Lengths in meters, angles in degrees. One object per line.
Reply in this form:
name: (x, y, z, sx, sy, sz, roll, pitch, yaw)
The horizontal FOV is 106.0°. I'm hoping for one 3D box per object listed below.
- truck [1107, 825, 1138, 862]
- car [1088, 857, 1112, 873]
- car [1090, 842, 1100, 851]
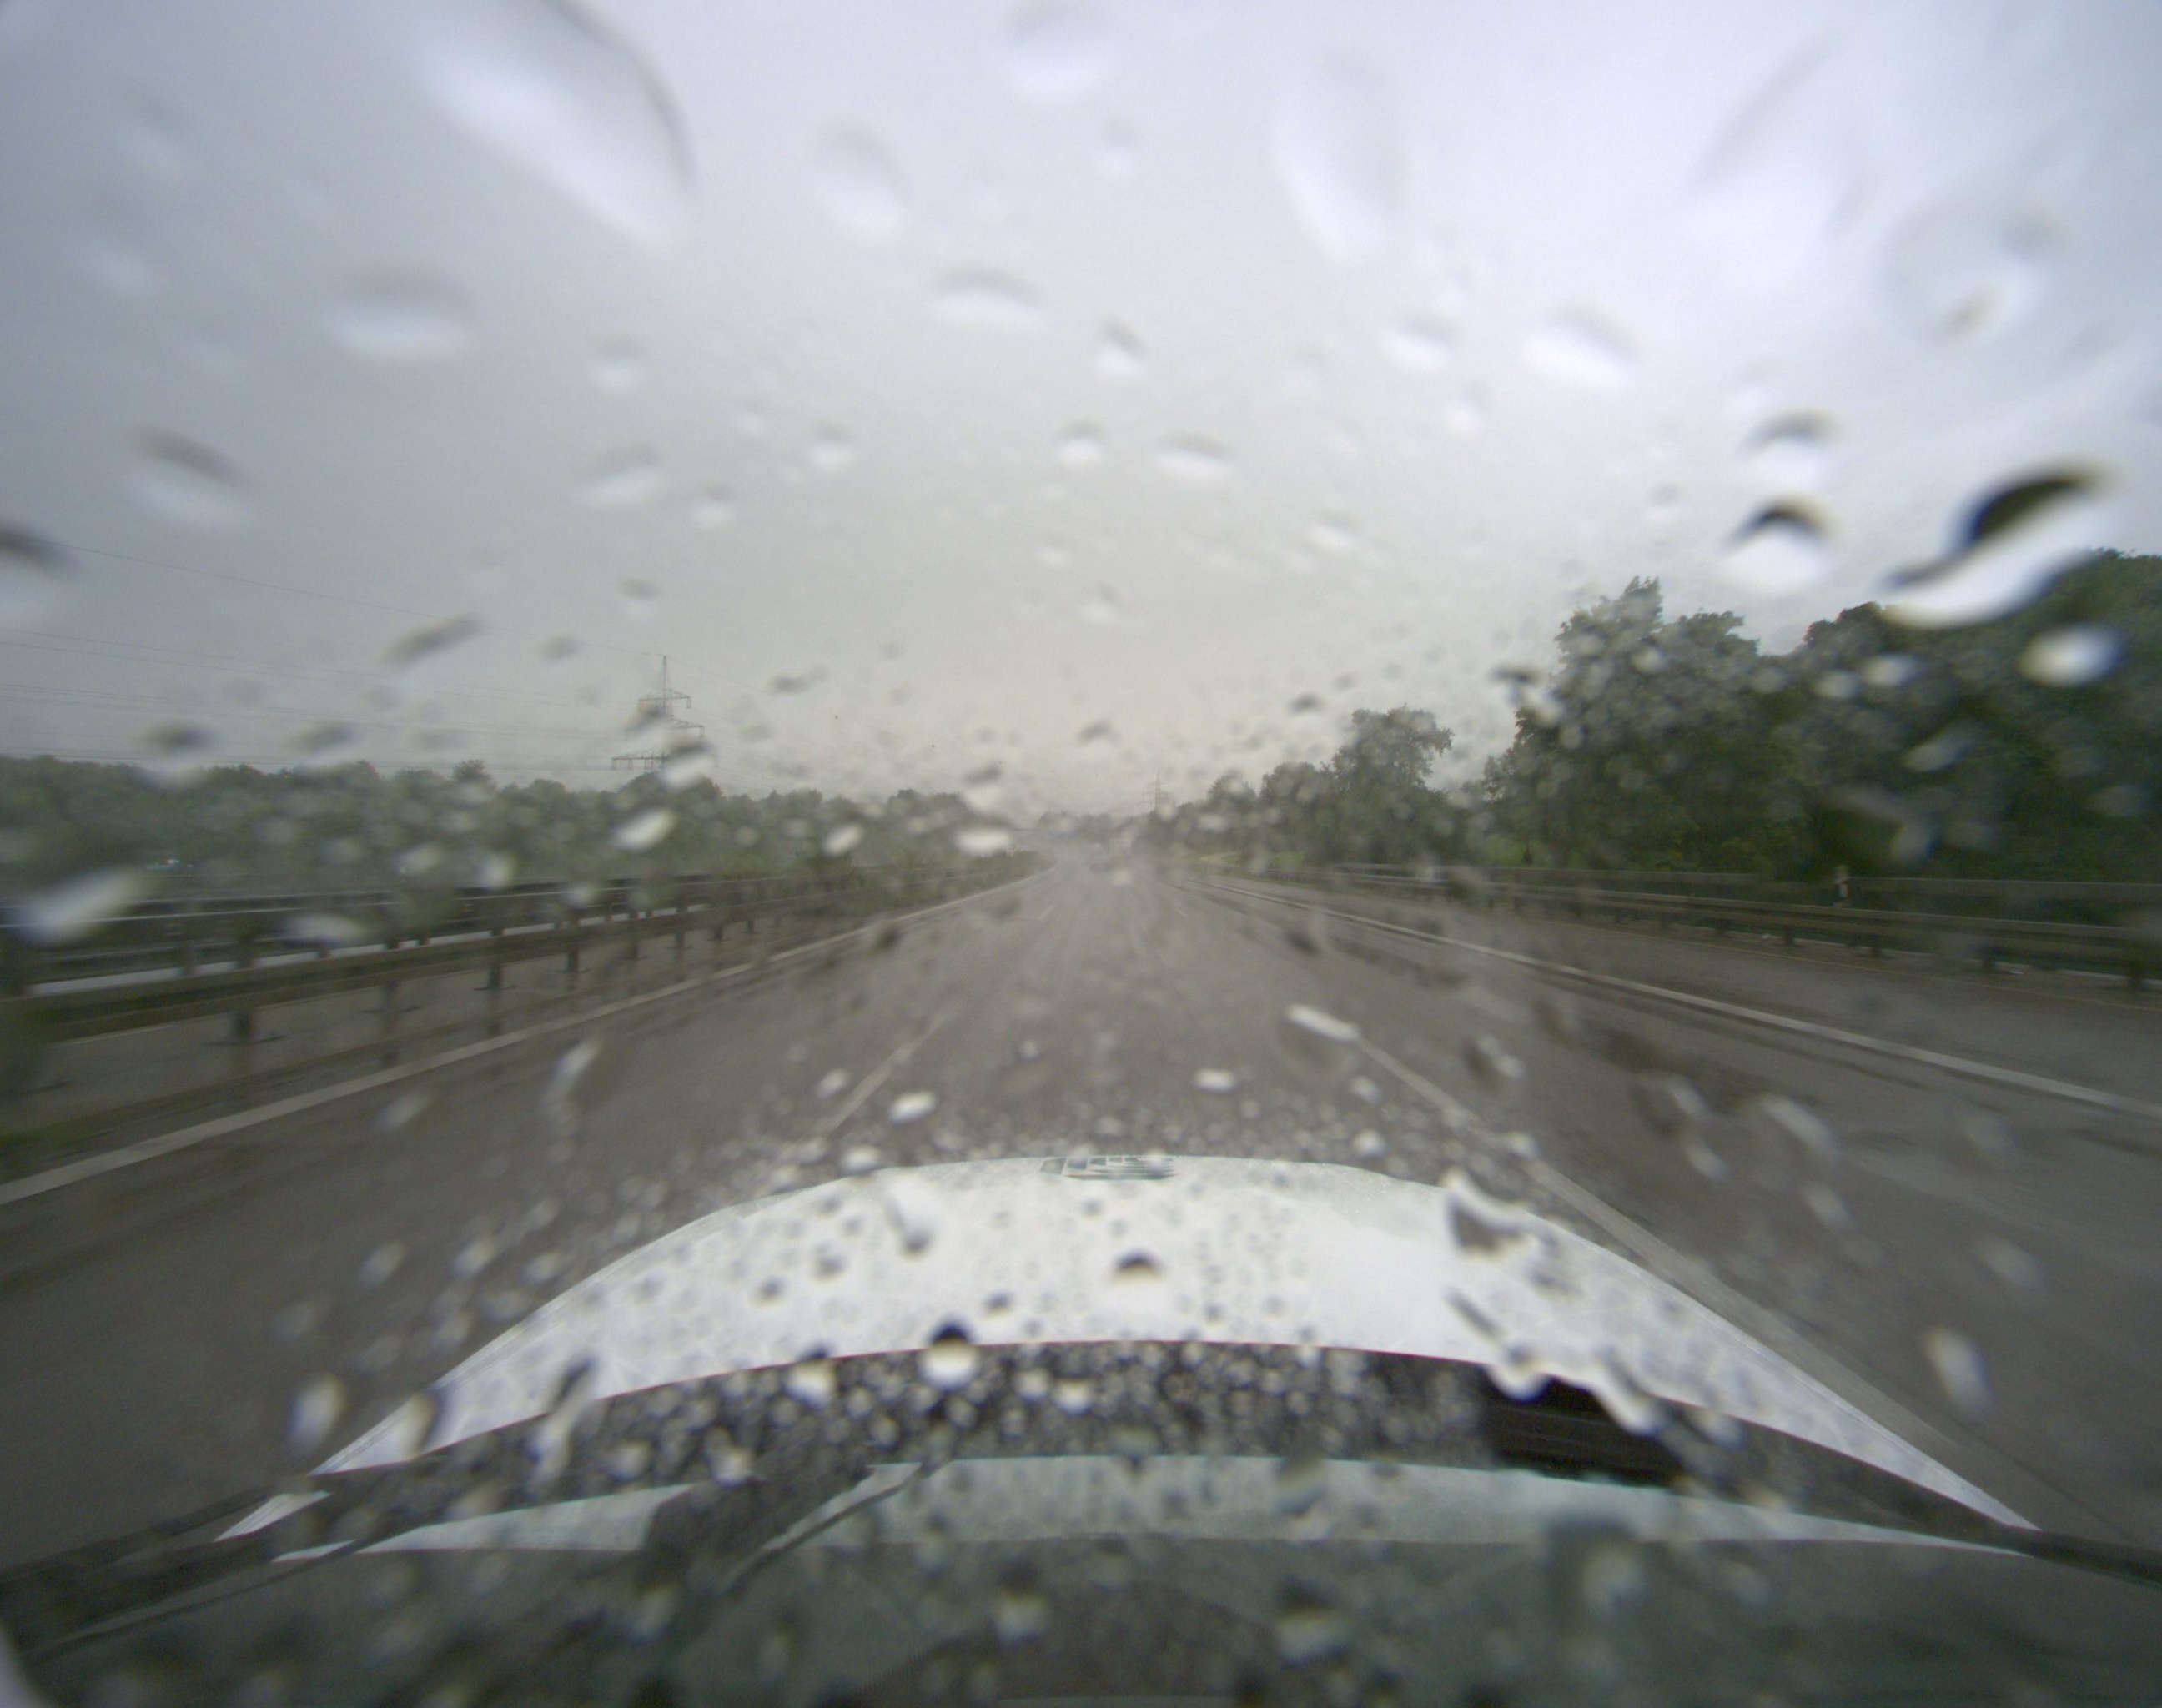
truck: (6.305, -1.584, 121.134, 4.238, 4.972, 17.359, -1, 0, 4)
car: (1.628, 0.872, 68.196, 1.740, 1.212, 4.005, 2, 0, 5)
car: (3.654, -2.018, 209.271, 2.387, 2.272, 4.999, 1, 1, -2)
